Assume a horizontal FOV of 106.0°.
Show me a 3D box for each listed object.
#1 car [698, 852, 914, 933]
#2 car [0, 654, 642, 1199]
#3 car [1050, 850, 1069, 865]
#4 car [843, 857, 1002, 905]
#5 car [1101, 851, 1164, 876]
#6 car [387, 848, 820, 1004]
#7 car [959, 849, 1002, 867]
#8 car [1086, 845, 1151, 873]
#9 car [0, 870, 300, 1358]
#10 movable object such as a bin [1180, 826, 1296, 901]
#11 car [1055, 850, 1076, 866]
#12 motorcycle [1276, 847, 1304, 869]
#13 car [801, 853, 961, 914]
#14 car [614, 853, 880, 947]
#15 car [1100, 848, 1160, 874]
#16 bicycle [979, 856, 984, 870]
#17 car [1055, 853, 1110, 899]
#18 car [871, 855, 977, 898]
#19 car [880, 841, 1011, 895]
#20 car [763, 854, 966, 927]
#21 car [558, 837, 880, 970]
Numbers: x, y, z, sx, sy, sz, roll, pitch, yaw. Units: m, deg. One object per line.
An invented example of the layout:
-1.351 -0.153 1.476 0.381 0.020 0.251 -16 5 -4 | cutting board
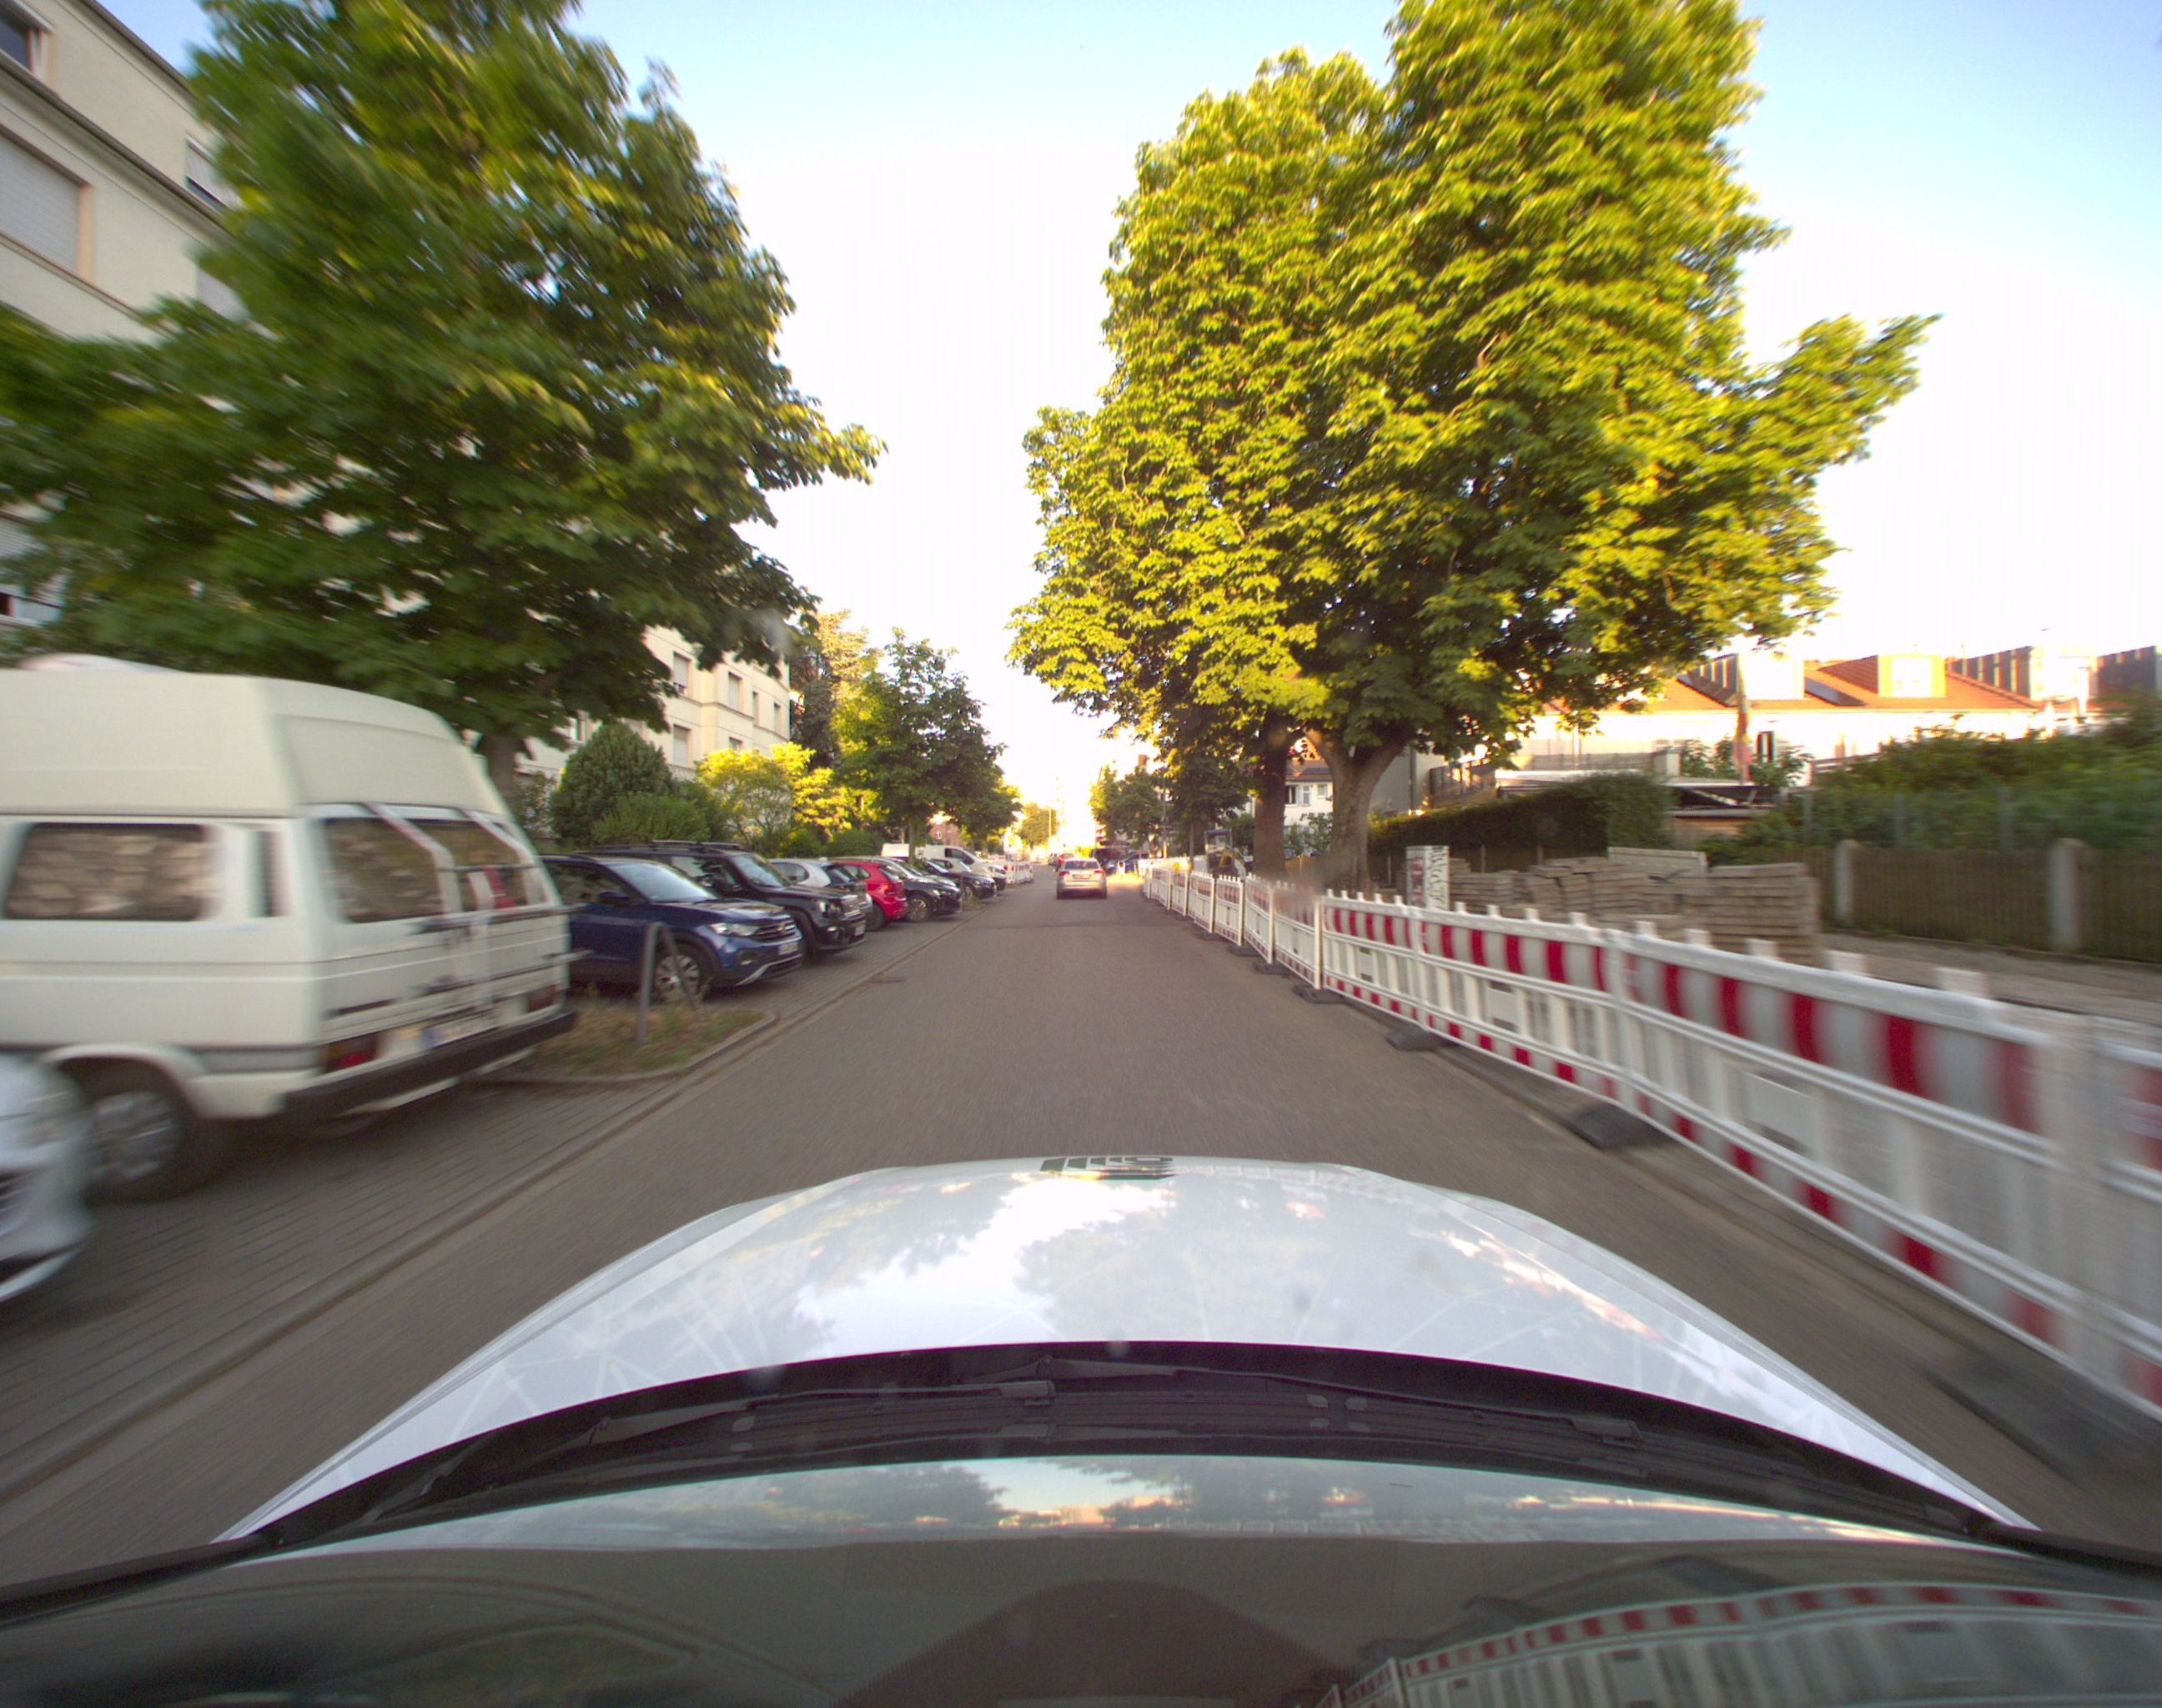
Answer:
-5.700 0.762 17.268 3.979 1.583 1.729 0 0 -4 | car
-5.307 0.324 4.646 4.486 2.431 2.000 0 0 1 | car
-2.393 0.358 88.627 1.806 1.612 3.574 0 0 -6 | car
-5.025 0.838 26.280 4.759 1.470 1.880 0 0 -2 | car
3.505 0.618 55.653 3.990 1.651 1.758 0 0 -12 | car
-5.189 0.731 9.232 3.845 1.595 1.786 0 0 2 | car
-9.575 0.369 77.152 3.986 1.625 1.994 0 0 -9 | car
2.765 0.332 60.644 4.557 2.023 2.094 0 0 -10 | car
-5.296 0.792 2.341 4.160 1.425 2.000 0 0 1 | car
5.374 0.280 28.760 2.625 2.402 5.186 0 0 -6 | movable object such as a bin
-1.504 0.385 78.124 1.728 1.483 3.550 0 0 -6 | car
10.741 0.192 41.797 0.574 1.105 1.858 0 0 44 | motorcycle
-5.341 0.765 22.208 3.981 1.578 1.798 0 0 -5 | car
-5.770 0.751 14.488 3.979 1.524 1.787 0 0 -4 | car
3.504 0.476 58.206 3.986 1.768 1.994 0 0 -9 | car
-8.864 0.814 72.618 0.406 1.227 1.981 0 0 -9 | bicycle
0.052 0.773 29.366 1.802 1.488 3.999 -2 -1 0 | car
-5.562 0.782 29.117 3.403 1.483 1.758 0 0 0 | car
-5.179 0.507 31.684 4.759 2.013 1.999 0 0 -2 | car
-5.045 0.834 19.530 4.399 1.615 1.896 0 0 -5 | car
-5.104 0.660 11.870 3.845 1.777 1.844 0 0 2 | car
